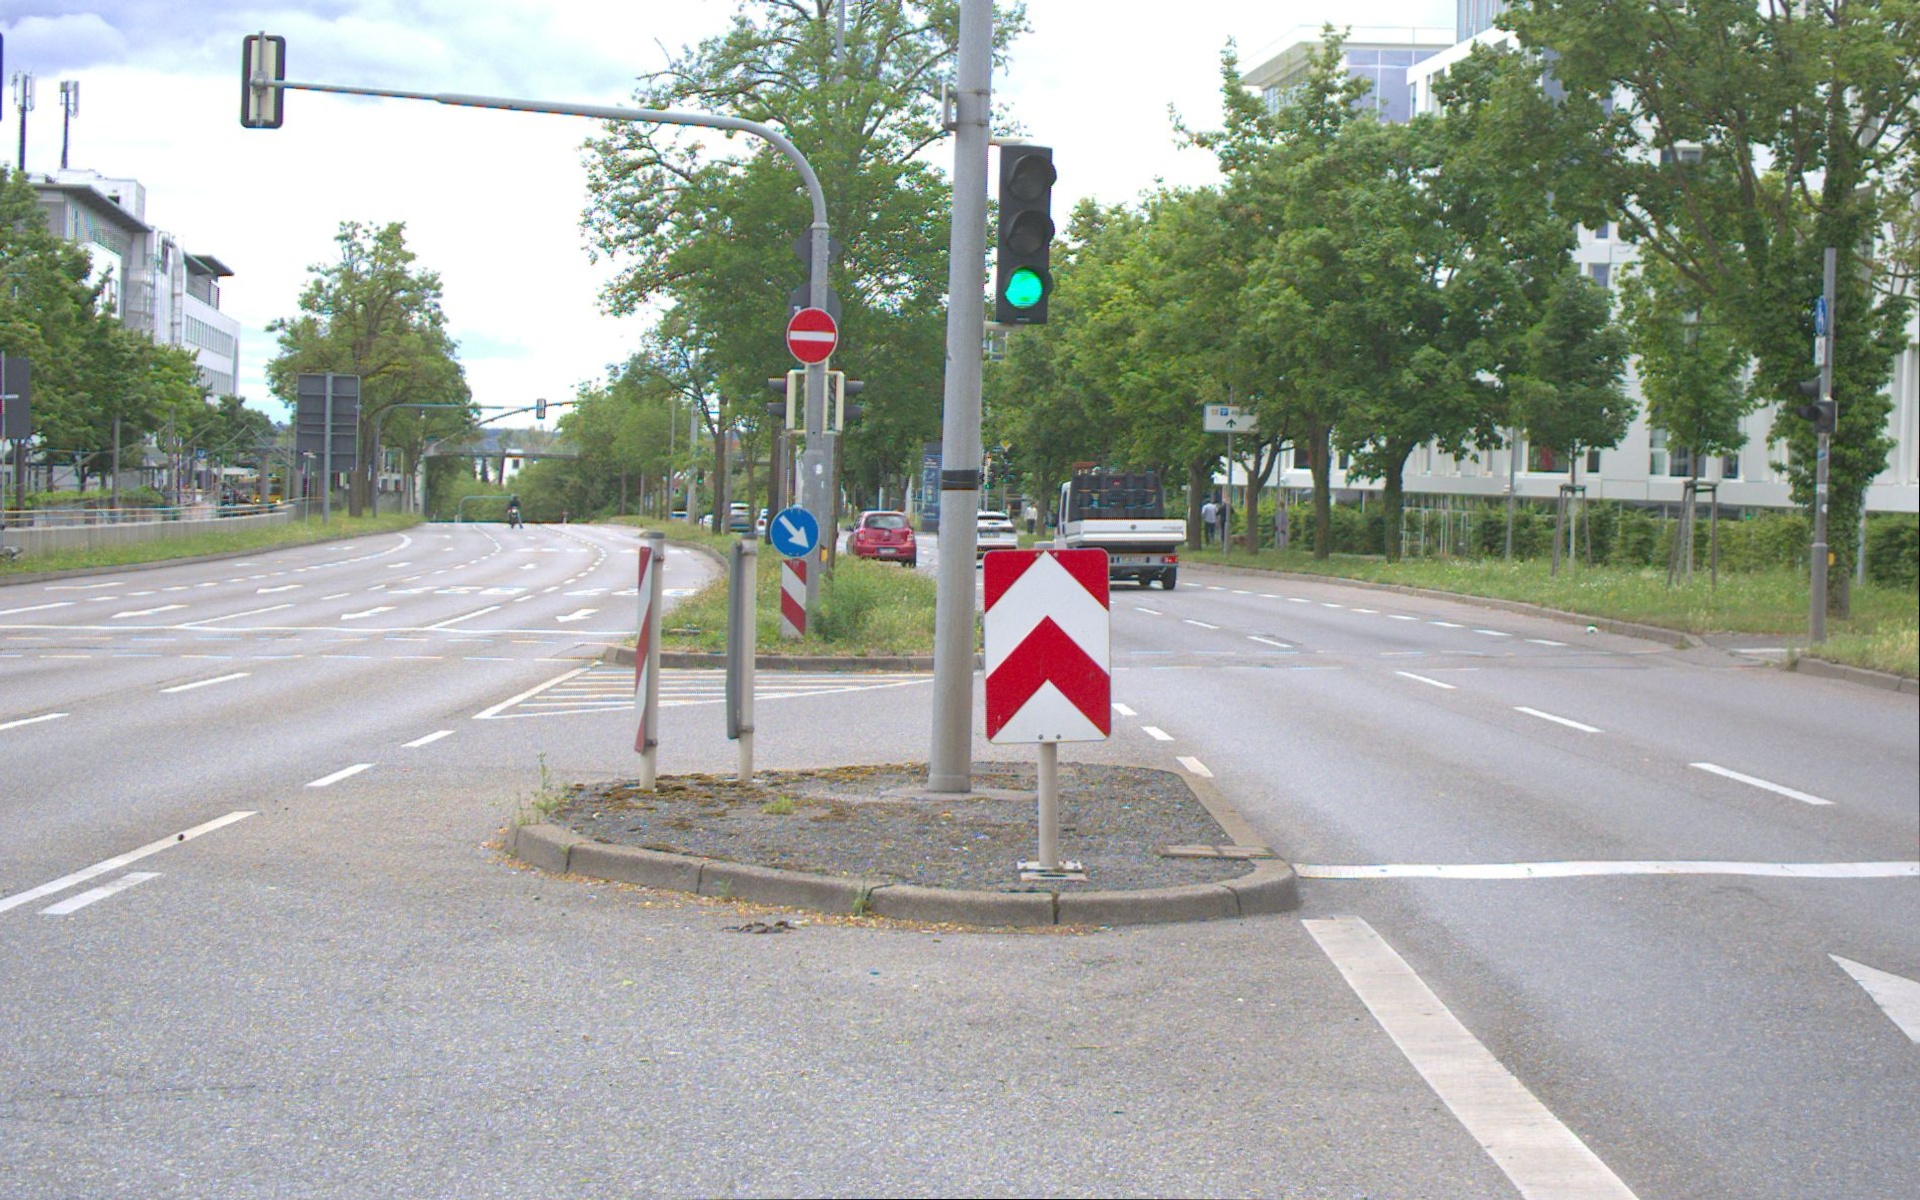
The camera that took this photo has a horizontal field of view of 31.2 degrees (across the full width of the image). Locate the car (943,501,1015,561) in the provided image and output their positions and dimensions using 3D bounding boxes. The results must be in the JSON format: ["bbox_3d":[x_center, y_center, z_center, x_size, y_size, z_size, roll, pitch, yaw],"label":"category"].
[{"bbox_3d":[0.488,-1.866,93.045,1.715,1.550,4.090,1,1,-3],"label":"car"}]

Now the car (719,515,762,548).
[{"bbox_3d":[-10.911,-3.407,170.384,1.891,1.590,4.315,1,1,-6],"label":"car"}]

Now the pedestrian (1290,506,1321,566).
[{"bbox_3d":[11.654,-2.163,115.901,0.848,2.007,0.606,1,1,-12],"label":"pedestrian"}]

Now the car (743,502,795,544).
[{"bbox_3d":[-7.379,-2.954,132.487,1.854,1.590,4.314,0,1,-5],"label":"car"}]

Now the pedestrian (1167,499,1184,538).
[{"bbox_3d":[8.848,-3.340,140.864,0.561,1.553,0.556,1,0,-9],"label":"pedestrian"}]

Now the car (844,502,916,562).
[{"bbox_3d":[-2.162,-1.817,92.018,1.716,1.553,3.859,0,1,-4],"label":"car"}]

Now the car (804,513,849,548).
[{"bbox_3d":[-6.306,-3.283,161.922,1.854,1.590,4.314,0,1,-5],"label":"car"}]

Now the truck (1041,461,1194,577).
[{"bbox_3d":[3.099,-1.632,69.082,2.211,2.196,5.846,1,1,-6],"label":"truck"}]

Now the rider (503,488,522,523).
[{"bbox_3d":[-22.538,-4.750,173.174,0.846,1.765,0.808,1,1,-4],"label":"rider"}]

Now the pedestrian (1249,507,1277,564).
[{"bbox_3d":[10.876,-2.316,123.370,0.762,2.007,0.754,1,1,-12],"label":"pedestrian"}]

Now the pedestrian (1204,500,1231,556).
[{"bbox_3d":[9.381,-2.627,125.042,0.762,2.007,0.754,1,1,-12],"label":"pedestrian"}]
